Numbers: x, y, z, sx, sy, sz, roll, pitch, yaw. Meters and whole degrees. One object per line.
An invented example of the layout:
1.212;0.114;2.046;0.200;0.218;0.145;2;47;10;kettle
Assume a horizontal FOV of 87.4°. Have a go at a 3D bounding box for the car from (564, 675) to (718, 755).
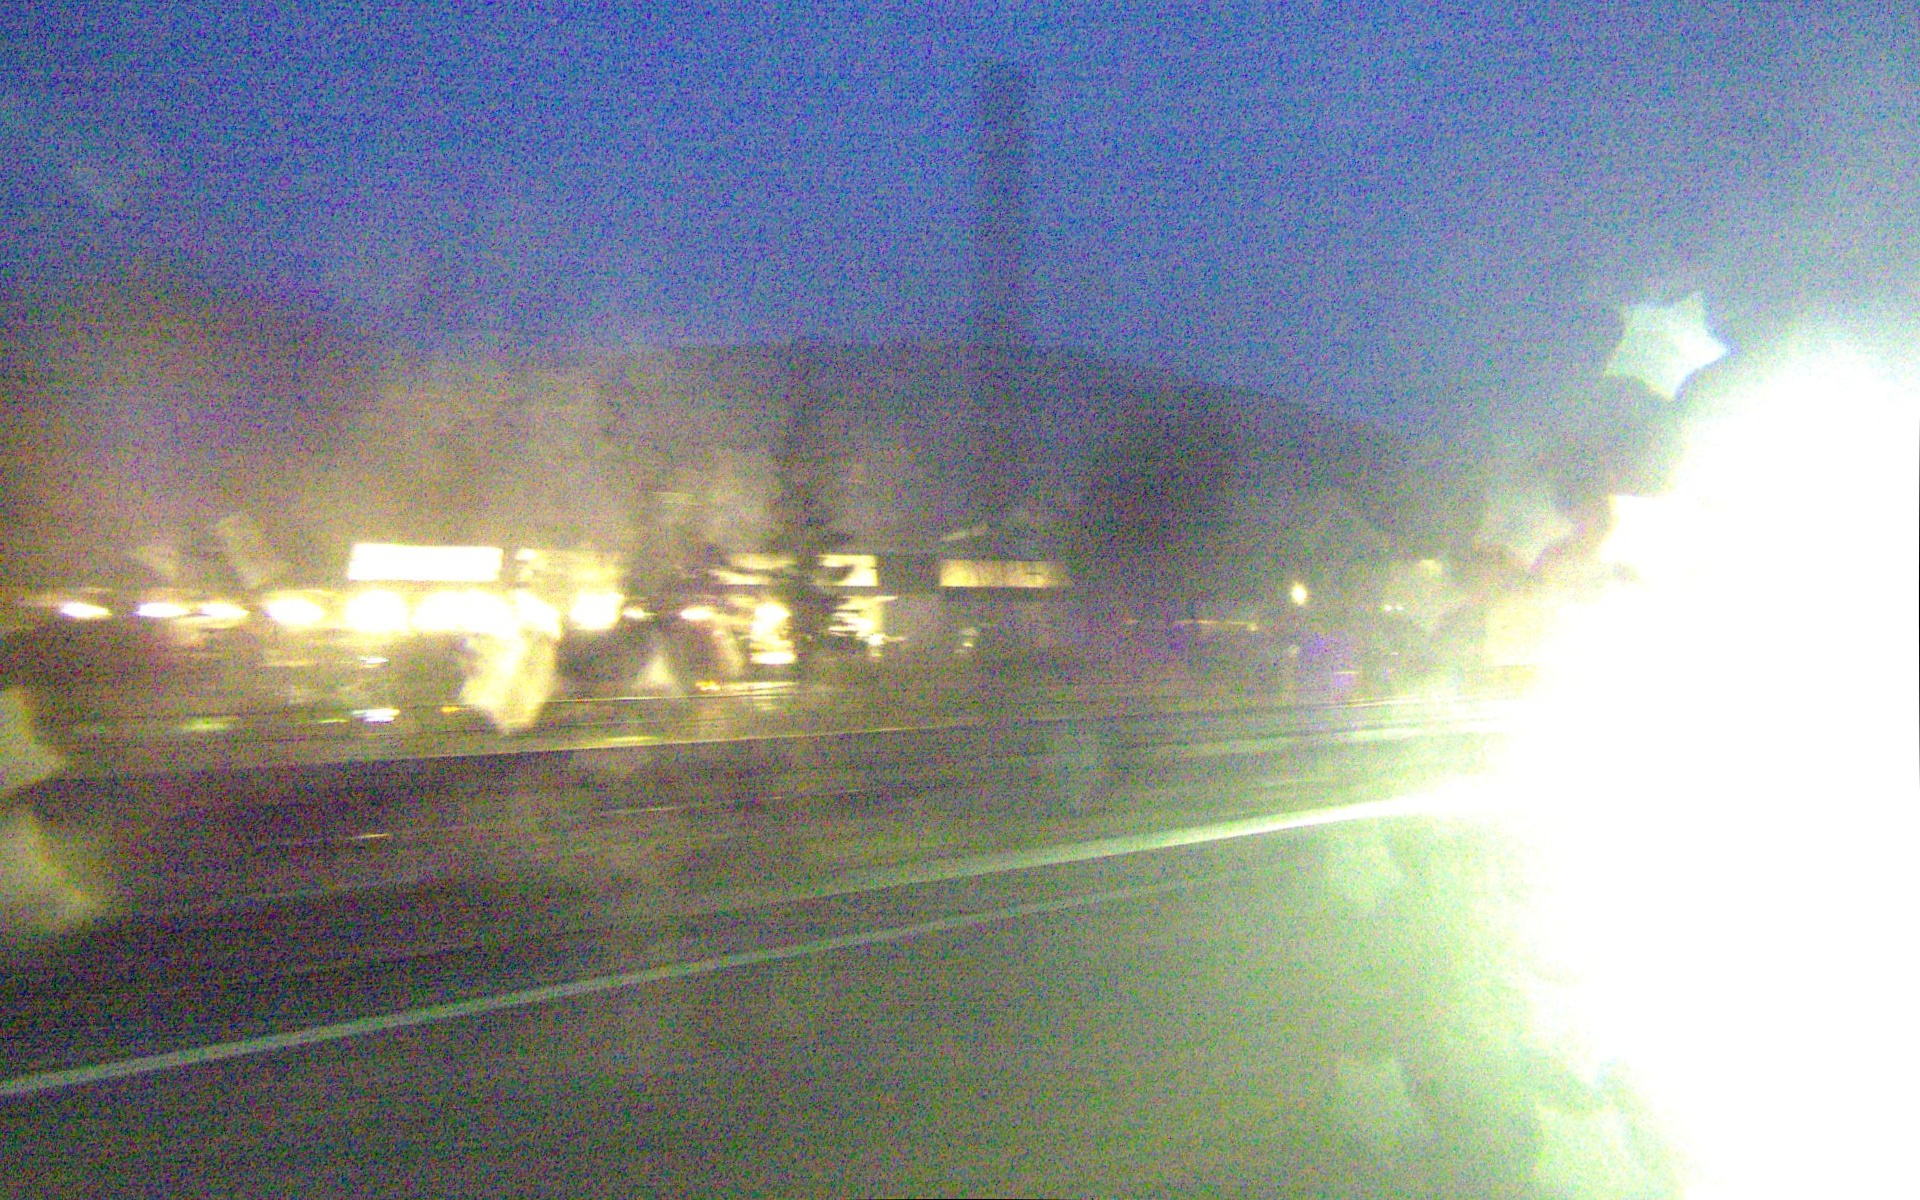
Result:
-9.542;3.381;30.100;3.963;2.040;1.979;2;-1;-37;car
